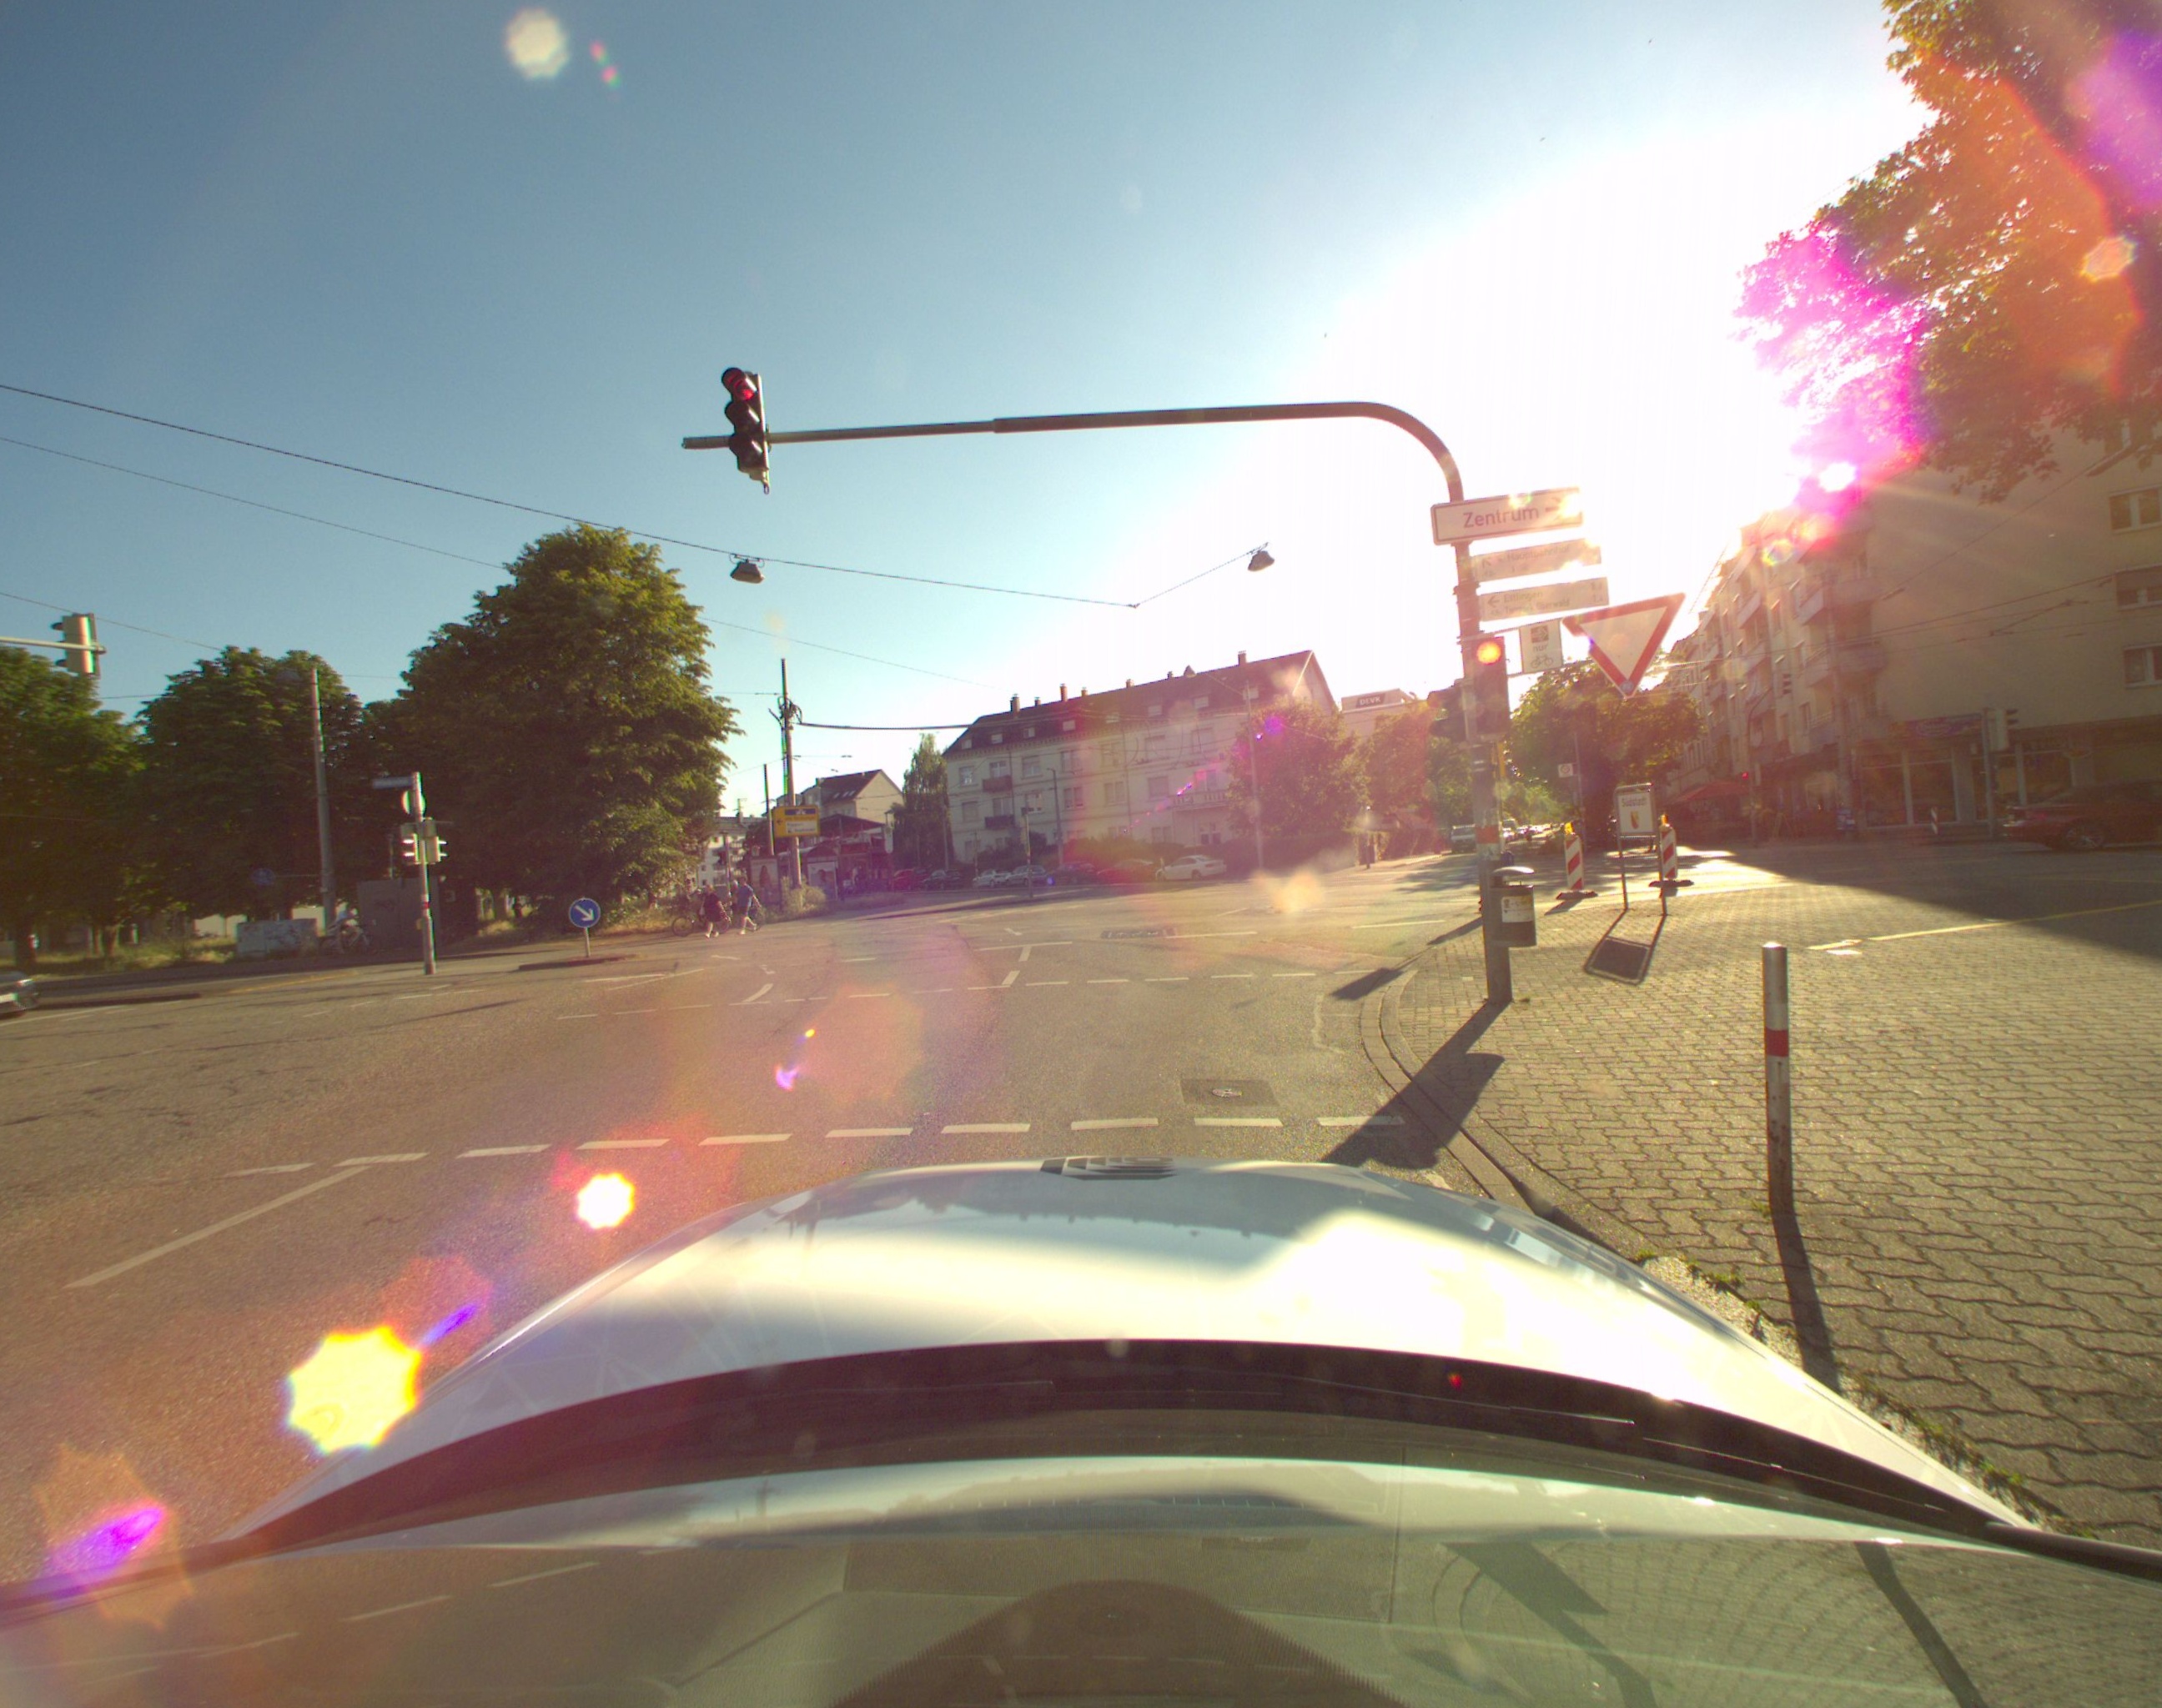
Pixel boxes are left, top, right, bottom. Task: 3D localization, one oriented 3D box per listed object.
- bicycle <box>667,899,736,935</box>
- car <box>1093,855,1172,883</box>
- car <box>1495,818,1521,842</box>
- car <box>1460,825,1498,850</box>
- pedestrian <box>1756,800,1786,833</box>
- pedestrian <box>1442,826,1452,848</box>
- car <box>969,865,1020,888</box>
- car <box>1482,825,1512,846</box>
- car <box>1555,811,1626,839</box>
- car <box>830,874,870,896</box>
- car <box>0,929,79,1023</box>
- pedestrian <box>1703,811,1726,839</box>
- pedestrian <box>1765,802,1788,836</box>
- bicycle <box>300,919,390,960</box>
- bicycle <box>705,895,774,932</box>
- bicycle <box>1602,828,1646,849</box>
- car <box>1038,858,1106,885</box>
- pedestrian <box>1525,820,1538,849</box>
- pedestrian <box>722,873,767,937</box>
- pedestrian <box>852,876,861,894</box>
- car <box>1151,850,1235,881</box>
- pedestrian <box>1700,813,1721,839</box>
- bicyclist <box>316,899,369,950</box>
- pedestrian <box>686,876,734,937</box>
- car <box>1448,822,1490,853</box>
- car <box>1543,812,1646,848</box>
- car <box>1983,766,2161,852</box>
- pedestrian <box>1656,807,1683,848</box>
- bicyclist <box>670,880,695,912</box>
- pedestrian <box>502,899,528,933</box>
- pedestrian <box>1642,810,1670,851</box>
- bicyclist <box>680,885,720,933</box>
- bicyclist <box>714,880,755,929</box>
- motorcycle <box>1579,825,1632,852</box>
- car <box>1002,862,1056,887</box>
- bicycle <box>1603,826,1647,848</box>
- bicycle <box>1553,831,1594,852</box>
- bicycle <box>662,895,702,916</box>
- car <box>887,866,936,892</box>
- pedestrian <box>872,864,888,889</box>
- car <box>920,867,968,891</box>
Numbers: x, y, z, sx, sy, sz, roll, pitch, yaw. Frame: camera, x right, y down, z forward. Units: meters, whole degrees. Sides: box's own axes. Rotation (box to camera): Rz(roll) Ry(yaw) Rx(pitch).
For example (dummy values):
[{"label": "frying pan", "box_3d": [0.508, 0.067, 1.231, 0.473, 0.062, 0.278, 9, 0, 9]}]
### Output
[{"label": "bicycle", "box_3d": [-13.259, 2.186, 28.498, 2.013, 1.069, 0.661, -4, -1, -11]}, {"label": "car", "box_3d": [3.125, 0.944, 50.201, 1.999, 1.376, 4.647, -7, 1, -44]}, {"label": "car", "box_3d": [47.949, -2.698, 91.349, 2.332, 2.514, 5.343, -5, -1, 28]}, {"label": "car", "box_3d": [31.693, -1.335, 64.755, 2.332, 1.795, 5.343, -5, -1, 28]}, {"label": "pedestrian", "box_3d": [34.258, -1.840, 40.451, 0.804, 1.544, 0.919, -5, -1, 25]}, {"label": "pedestrian", "box_3d": [29.278, -1.339, 65.086, 0.573, 1.730, 0.612, -4, -1, 26]}, {"label": "car", "box_3d": [-6.585, 1.730, 61.682, 1.855, 1.447, 3.912, -7, 1, -39]}, {"label": "car", "box_3d": [39.719, -1.793, 77.674, 2.332, 1.795, 5.343, -5, -1, 28]}, {"label": "car", "box_3d": [44.684, -2.510, 71.623, 5.042, 1.924, 2.377, -5, -2, 28]}, {"label": "car", "box_3d": [-23.842, 3.196, 83.954, 2.067, 1.961, 5.091, -7, 1, -39]}, {"label": "car", "box_3d": [-21.393, 2.370, 14.638, 4.415, 1.567, 2.057, -4, 0, 5]}, {"label": "pedestrian", "box_3d": [33.377, -1.528, 42.913, 0.803, 1.362, 0.920, -5, -1, 36]}, {"label": "pedestrian", "box_3d": [33.866, -1.706, 39.673, 0.612, 1.591, 0.480, -4, -1, 15]}, {"label": "bicycle", "box_3d": [-25.245, 2.919, 27.961, 2.194, 1.142, 0.698, -4, -1, -9]}, {"label": "bicycle", "box_3d": [-11.668, 2.018, 27.847, 2.013, 1.069, 0.661, -4, -1, -11]}, {"label": "bicycle", "box_3d": [26.870, -0.770, 40.327, 1.707, 0.932, 0.565, -5, -1, 31]}, {"label": "car", "box_3d": [-0.667, 1.198, 54.802, 1.998, 1.447, 4.650, -7, 1, -39]}, {"label": "pedestrian", "box_3d": [29.623, -1.285, 53.556, 0.655, 1.839, 0.687, -4, -1, 30]}, {"label": "pedestrian", "box_3d": [-10.737, 1.597, 26.048, 0.910, 1.925, 1.066, -4, -1, -5]}, {"label": "pedestrian", "box_3d": [-18.480, 2.551, 67.023, 0.569, 1.500, 0.672, -4, -1, -27]}, {"label": "car", "box_3d": [6.272, 0.675, 46.131, 1.941, 1.376, 4.443, -7, 1, -40]}, {"label": "pedestrian", "box_3d": [34.056, -1.524, 44.067, 0.803, 1.362, 0.920, -5, -1, 36]}, {"label": "bicyclist", "box_3d": [-25.326, 2.414, 27.945, 1.038, 1.629, 0.711, -4, -1, -8]}, {"label": "pedestrian", "box_3d": [-11.352, 1.593, 24.936, 0.910, 1.747, 1.066, -4, -1, -5]}, {"label": "car", "box_3d": [28.389, -1.232, 59.450, 2.332, 2.013, 5.343, -5, -1, 28]}, {"label": "car", "box_3d": [34.254, -1.543, 54.551, 5.567, 1.924, 2.377, -5, -2, 28]}, {"label": "car", "box_3d": [21.987, -1.005, 16.715, 4.335, 1.564, 1.912, -5, 0, 40]}, {"label": "pedestrian", "box_3d": [25.832, -1.172, 35.733, 0.799, 1.750, 0.685, -4, -1, -39]}, {"label": "bicyclist", "box_3d": [-21.743, 2.270, 44.453, 0.662, 1.652, 0.892, -4, -1, 25]}, {"label": "pedestrian", "box_3d": [-33.001, 3.598, 47.479, 0.934, 1.872, 0.691, -4, -1, 19]}, {"label": "pedestrian", "box_3d": [25.967, -1.064, 36.766, 0.799, 1.750, 0.710, -4, -1, -38]}, {"label": "bicyclist", "box_3d": [-13.316, 1.909, 28.476, 1.034, 1.532, 0.658, -4, -1, -11]}, {"label": "bicyclist", "box_3d": [-11.830, 1.714, 27.828, 1.034, 1.532, 0.695, -4, -1, -11]}, {"label": "motorcycle", "box_3d": [24.969, -0.716, 38.809, 1.933, 1.109, 0.842, -5, -1, 26]}, {"label": "car", "box_3d": [-3.742, 1.459, 58.121, 1.998, 1.447, 3.676, -7, 1, -39]}, {"label": "bicycle", "box_3d": [26.471, -0.817, 39.663, 1.707, 0.932, 0.565, -5, -1, 31]}, {"label": "bicycle", "box_3d": [24.921, -0.638, 41.203, 1.707, 0.932, 0.676, -5, -1, 31]}, {"label": "bicycle", "box_3d": [-21.751, 2.798, 44.439, 0.656, 1.069, 2.030, -1, -1, 22]}, {"label": "car", "box_3d": [-15.201, 2.234, 72.769, 2.067, 1.961, 5.091, -7, 1, -39]}, {"label": "pedestrian", "box_3d": [-16.305, 1.822, 65.963, 0.928, 2.013, 0.760, -4, -1, -34]}, {"label": "car", "box_3d": [-11.405, 2.076, 67.635, 1.855, 1.667, 4.319, -7, 1, -39]}]
